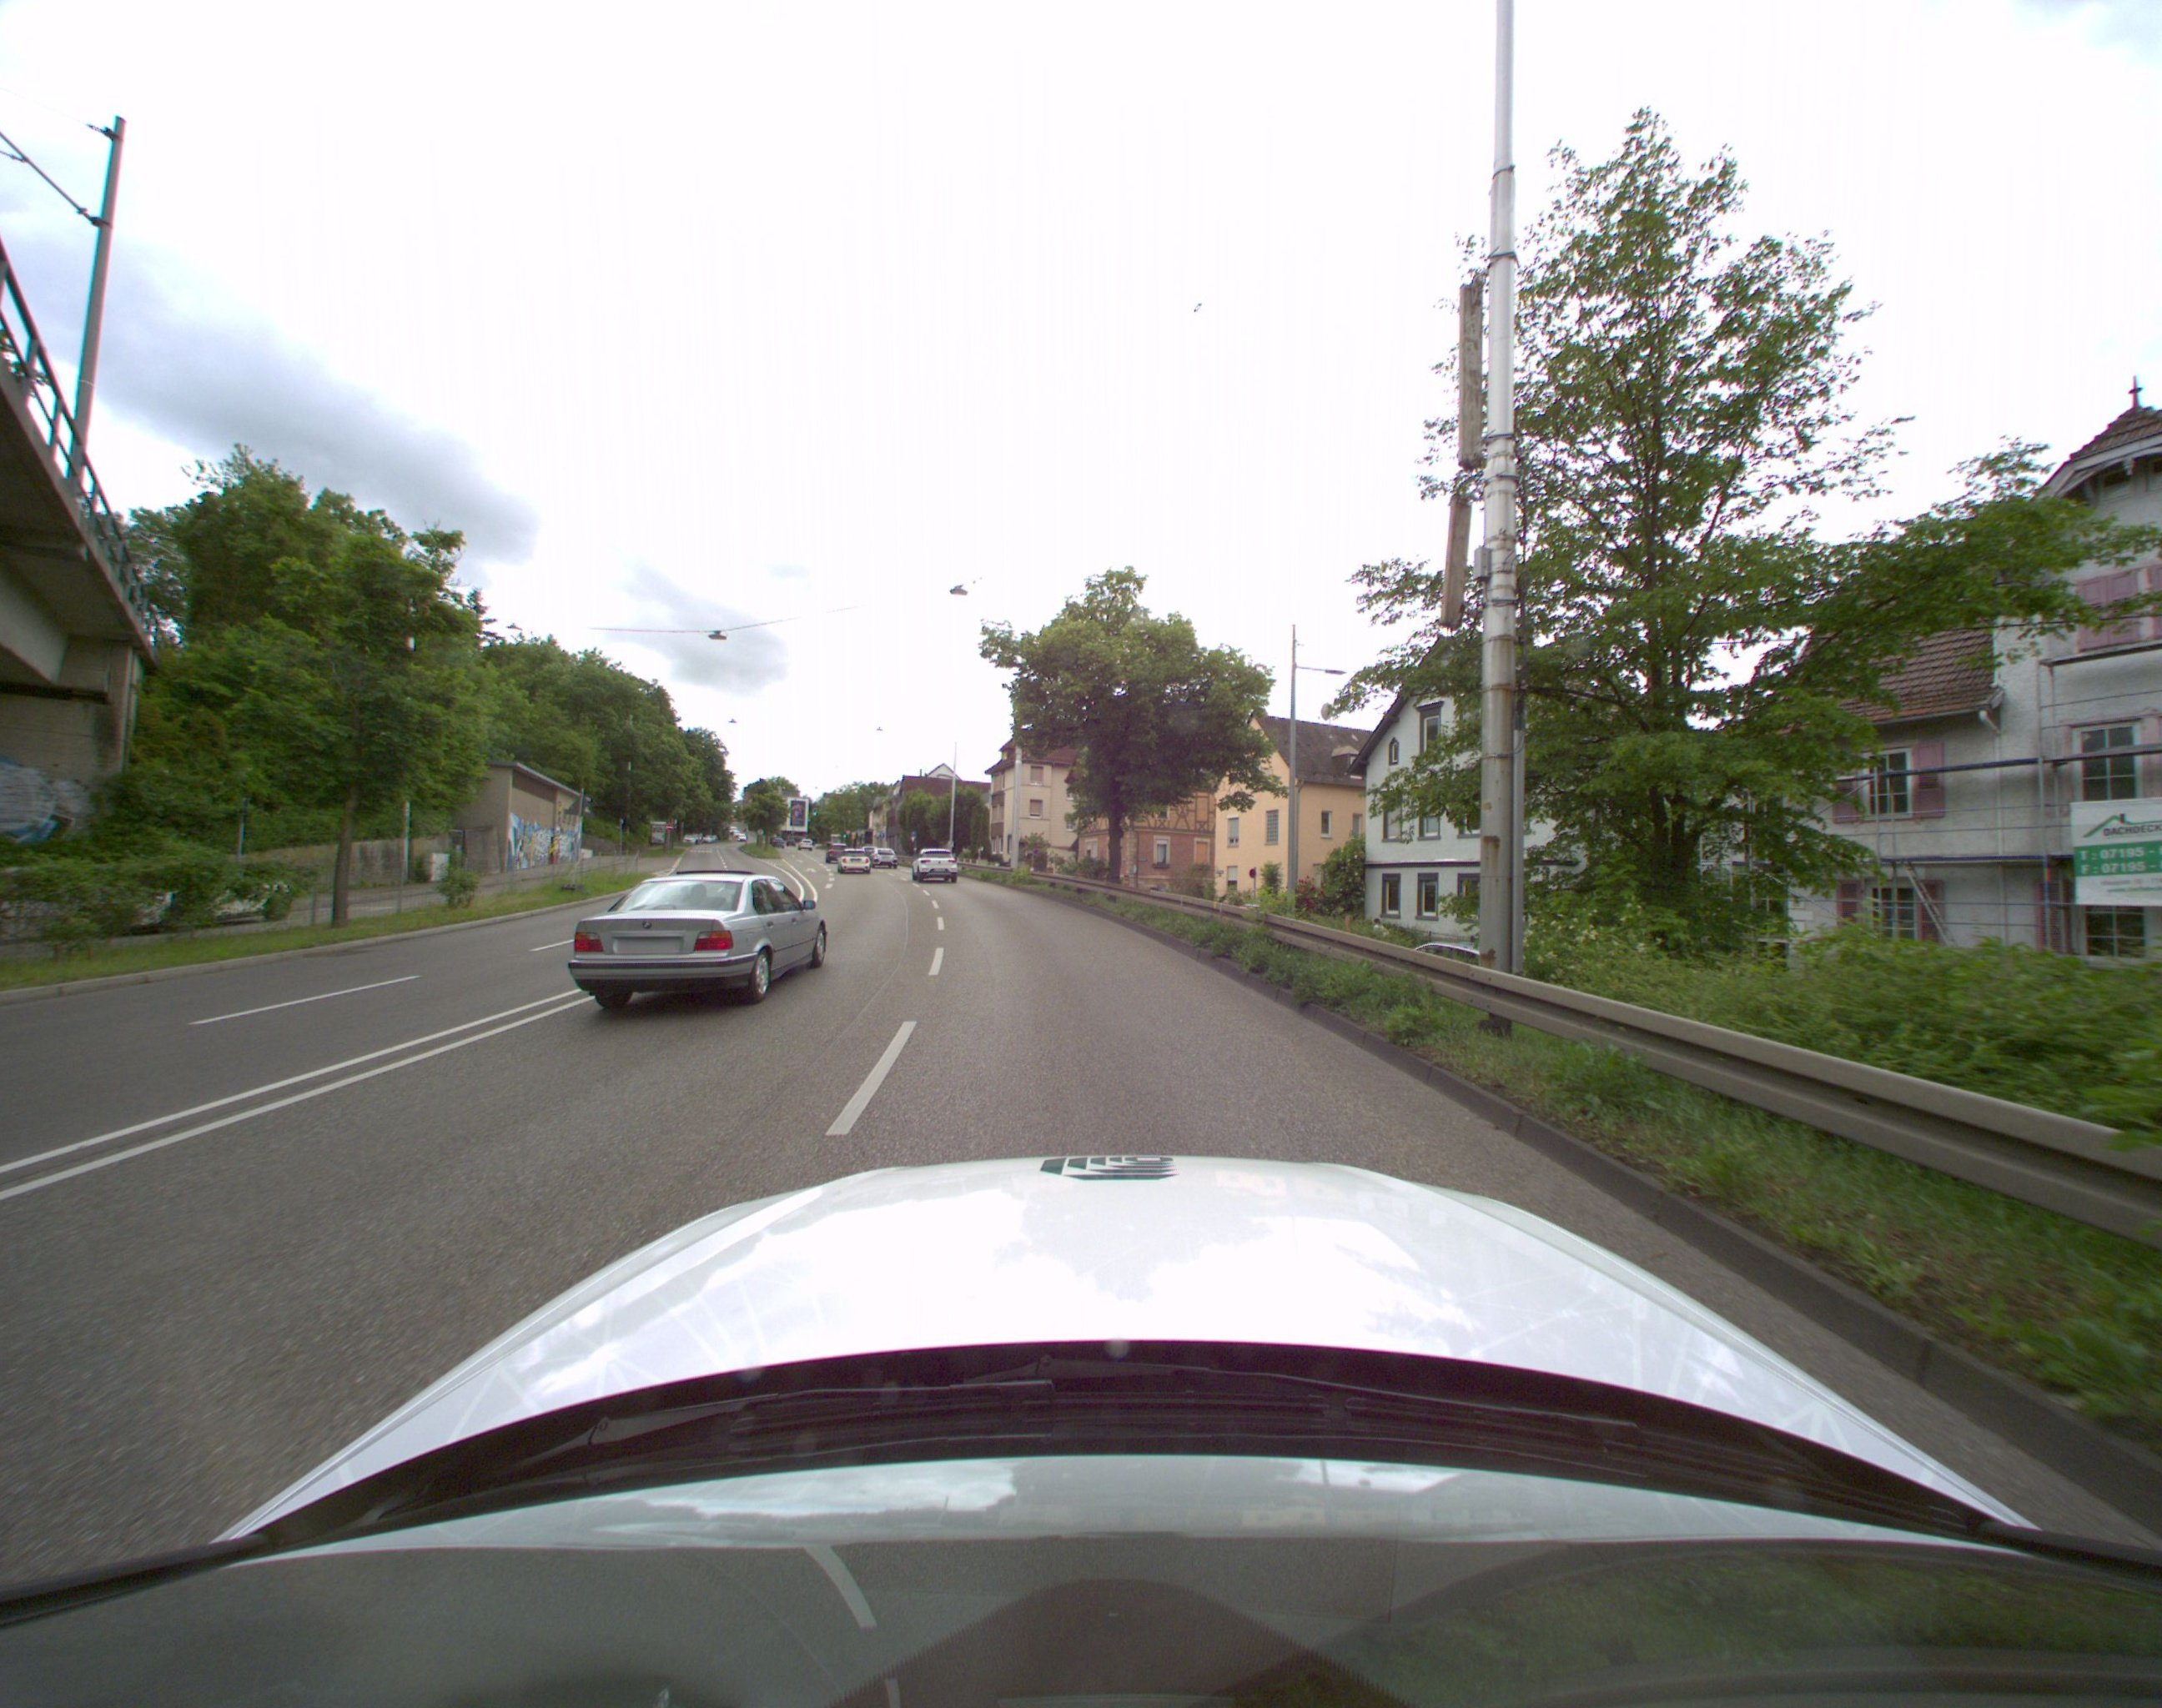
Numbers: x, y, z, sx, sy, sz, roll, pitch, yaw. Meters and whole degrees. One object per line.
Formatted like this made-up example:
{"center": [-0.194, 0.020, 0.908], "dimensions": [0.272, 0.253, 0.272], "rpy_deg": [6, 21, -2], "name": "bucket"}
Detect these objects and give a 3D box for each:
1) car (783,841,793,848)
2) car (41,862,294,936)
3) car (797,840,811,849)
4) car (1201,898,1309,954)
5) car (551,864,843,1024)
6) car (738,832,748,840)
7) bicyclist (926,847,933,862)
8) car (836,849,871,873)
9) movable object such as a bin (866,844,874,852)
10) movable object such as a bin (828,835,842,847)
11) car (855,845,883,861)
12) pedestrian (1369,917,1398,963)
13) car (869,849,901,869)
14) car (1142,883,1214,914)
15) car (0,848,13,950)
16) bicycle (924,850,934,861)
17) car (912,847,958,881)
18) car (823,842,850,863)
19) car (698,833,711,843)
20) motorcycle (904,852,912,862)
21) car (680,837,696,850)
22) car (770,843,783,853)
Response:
{"center": [-59.629, -1.956, 165.893], "dimensions": [1.730, 1.376, 3.431], "rpy_deg": [0, 0, -22], "name": "car"}
{"center": [-20.582, 0.945, 18.625], "dimensions": [1.765, 1.419, 3.793], "rpy_deg": [-1, 1, -8], "name": "car"}
{"center": [-42.314, -1.460, 124.395], "dimensions": [1.730, 1.376, 3.431], "rpy_deg": [0, 0, -22], "name": "car"}
{"center": [6.614, 2.712, 31.413], "dimensions": [1.791, 1.670, 4.168], "rpy_deg": [3, 0, -26], "name": "car"}
{"center": [-4.210, 0.854, 9.828], "dimensions": [1.632, 1.383, 4.612], "rpy_deg": [-1, 0, -5], "name": "car"}
{"center": [-78.051, -4.073, 188.123], "dimensions": [1.867, 1.670, 4.248], "rpy_deg": [4, 0, -23], "name": "car"}
{"center": [-15.762, 0.039, 84.813], "dimensions": [0.569, 1.524, 0.952], "rpy_deg": [-1, 1, -24], "name": "bicyclist"}
{"center": [-13.418, 0.396, 48.026], "dimensions": [1.729, 1.376, 3.433], "rpy_deg": [0, 0, -20], "name": "car"}
{"center": [-37.269, -1.027, 143.751], "dimensions": [1.200, 1.408, 0.706], "rpy_deg": [4, 0, -22], "name": "movable object such as a bin"}
{"center": [-43.594, -2.279, 144.171], "dimensions": [1.903, 1.870, 1.514], "rpy_deg": [4, 0, -30], "name": "movable object such as a bin"}
{"center": [-18.709, -0.105, 71.893], "dimensions": [1.732, 1.376, 3.426], "rpy_deg": [0, 0, -27], "name": "car"}
{"center": [10.266, 2.918, 27.675], "dimensions": [0.620, 1.480, 0.585], "rpy_deg": [3, 0, -22], "name": "pedestrian"}
{"center": [-14.142, 0.328, 58.652], "dimensions": [1.730, 1.376, 3.430], "rpy_deg": [0, 0, -23], "name": "car"}
{"center": [6.134, 2.808, 51.444], "dimensions": [4.004, 1.574, 1.985], "rpy_deg": [5, -1, -24], "name": "car"}
{"center": [-19.664, 0.843, 12.189], "dimensions": [1.765, 1.785, 4.453], "rpy_deg": [-2, 1, -8], "name": "car"}
{"center": [-15.840, 0.158, 84.973], "dimensions": [0.569, 1.063, 1.990], "rpy_deg": [-1, 2, -24], "name": "bicycle"}
{"center": [-6.957, 0.438, 38.480], "dimensions": [1.801, 1.519, 3.438], "rpy_deg": [0, 0, -16], "name": "car"}
{"center": [-20.272, -0.151, 67.366], "dimensions": [1.731, 1.640, 3.429], "rpy_deg": [0, 0, -24], "name": "car"}
{"center": [-66.425, -2.801, 143.723], "dimensions": [1.868, 1.593, 4.246], "rpy_deg": [4, 0, -24], "name": "car"}
{"center": [-21.865, 0.354, 102.751], "dimensions": [0.610, 1.161, 2.027], "rpy_deg": [1, 1, -21], "name": "motorcycle"}
{"center": [-59.256, -1.576, 122.721], "dimensions": [1.868, 1.670, 4.246], "rpy_deg": [4, 0, -24], "name": "car"}
{"center": [-49.929, -1.017, 133.444], "dimensions": [1.731, 1.583, 3.429], "rpy_deg": [0, 0, -24], "name": "car"}
